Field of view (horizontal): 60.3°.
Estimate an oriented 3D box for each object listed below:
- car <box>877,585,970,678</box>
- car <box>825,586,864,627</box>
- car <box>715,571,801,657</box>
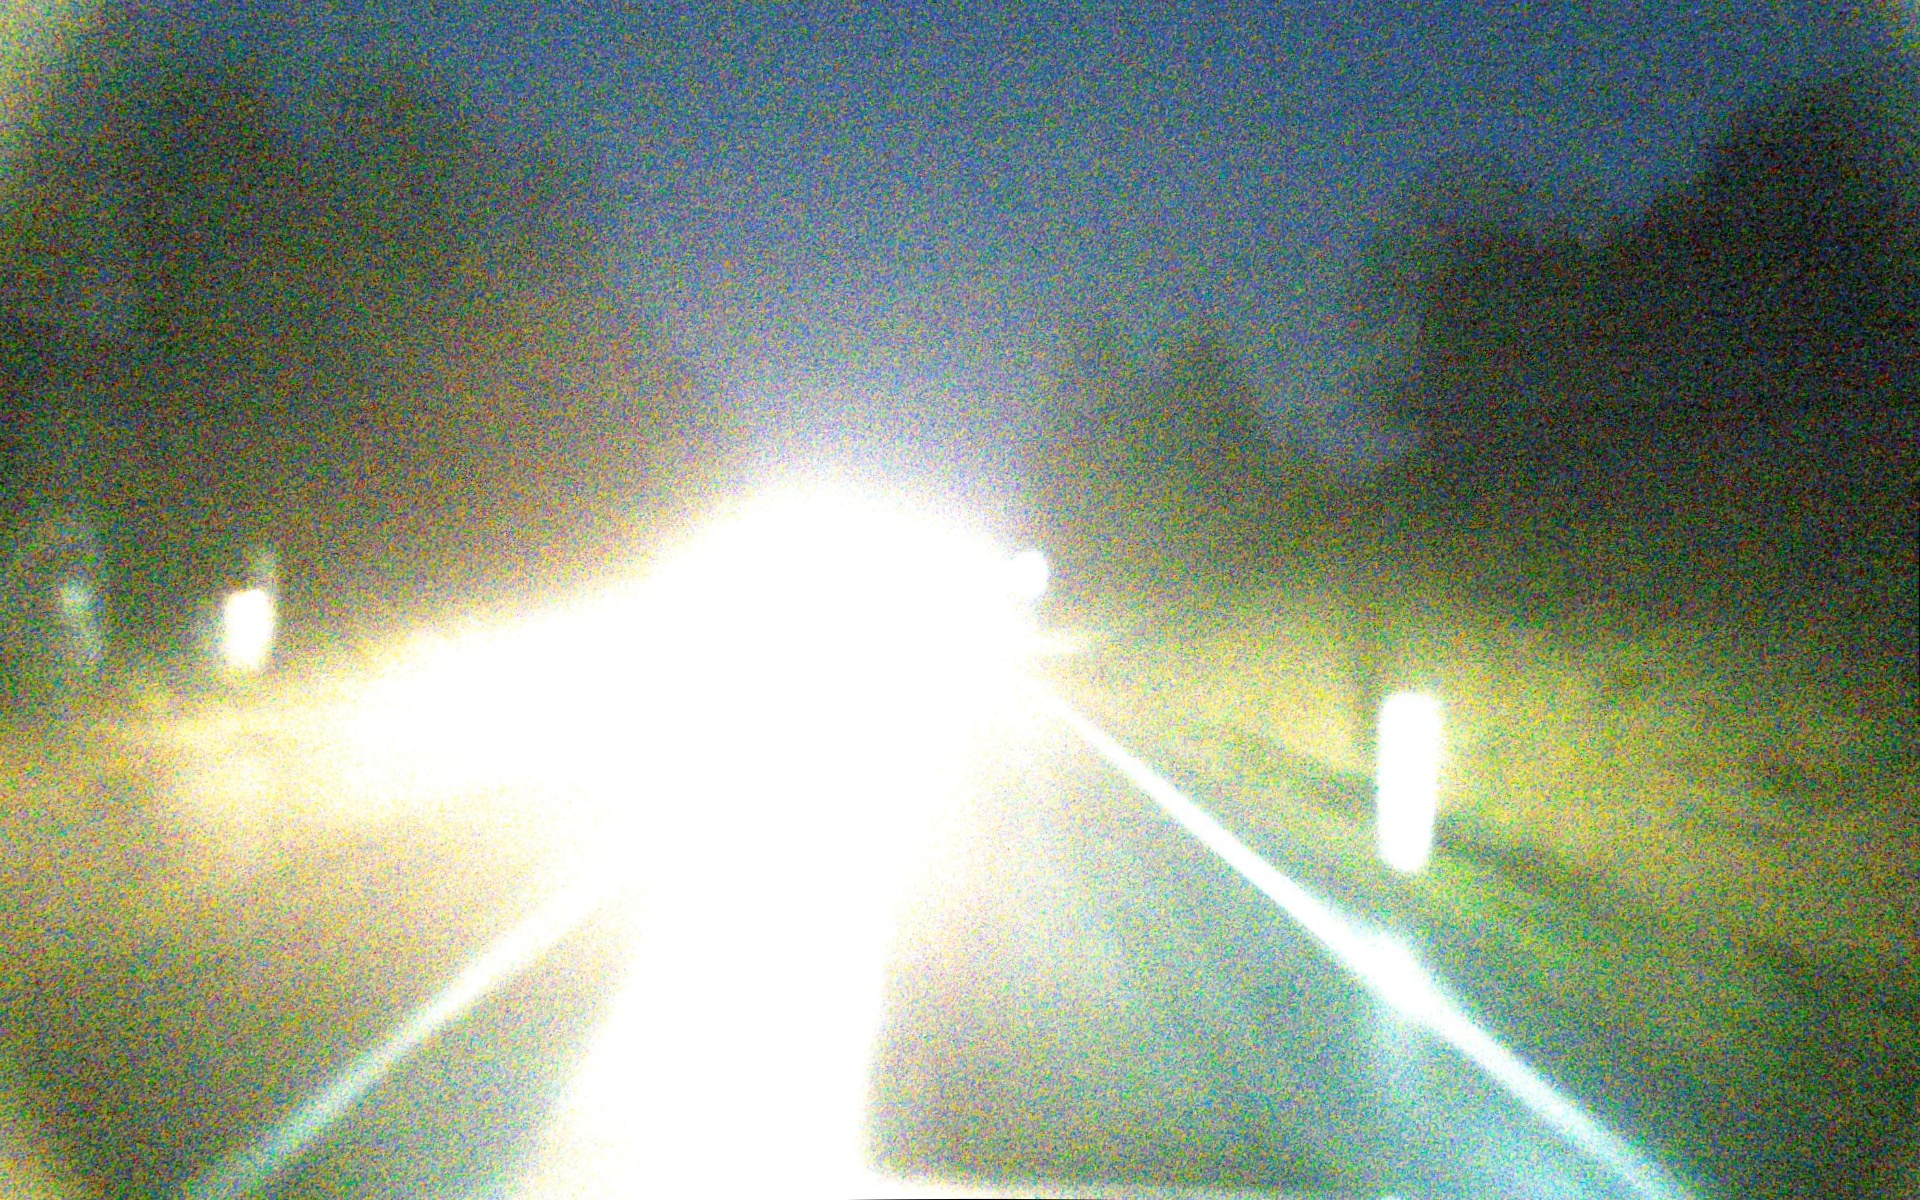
[{"bbox_3d":[-0.892,0.698,39.544,2.051,2.049,3.998,2,0,-2],"label":"car"},{"bbox_3d":[-6.058,0.324,86.472,1.955,2.049,3.996,2,0,-5],"label":"car"},{"bbox_3d":[-5.101,0.332,42.212,1.955,2.049,3.996,2,0,-5],"label":"car"}]
